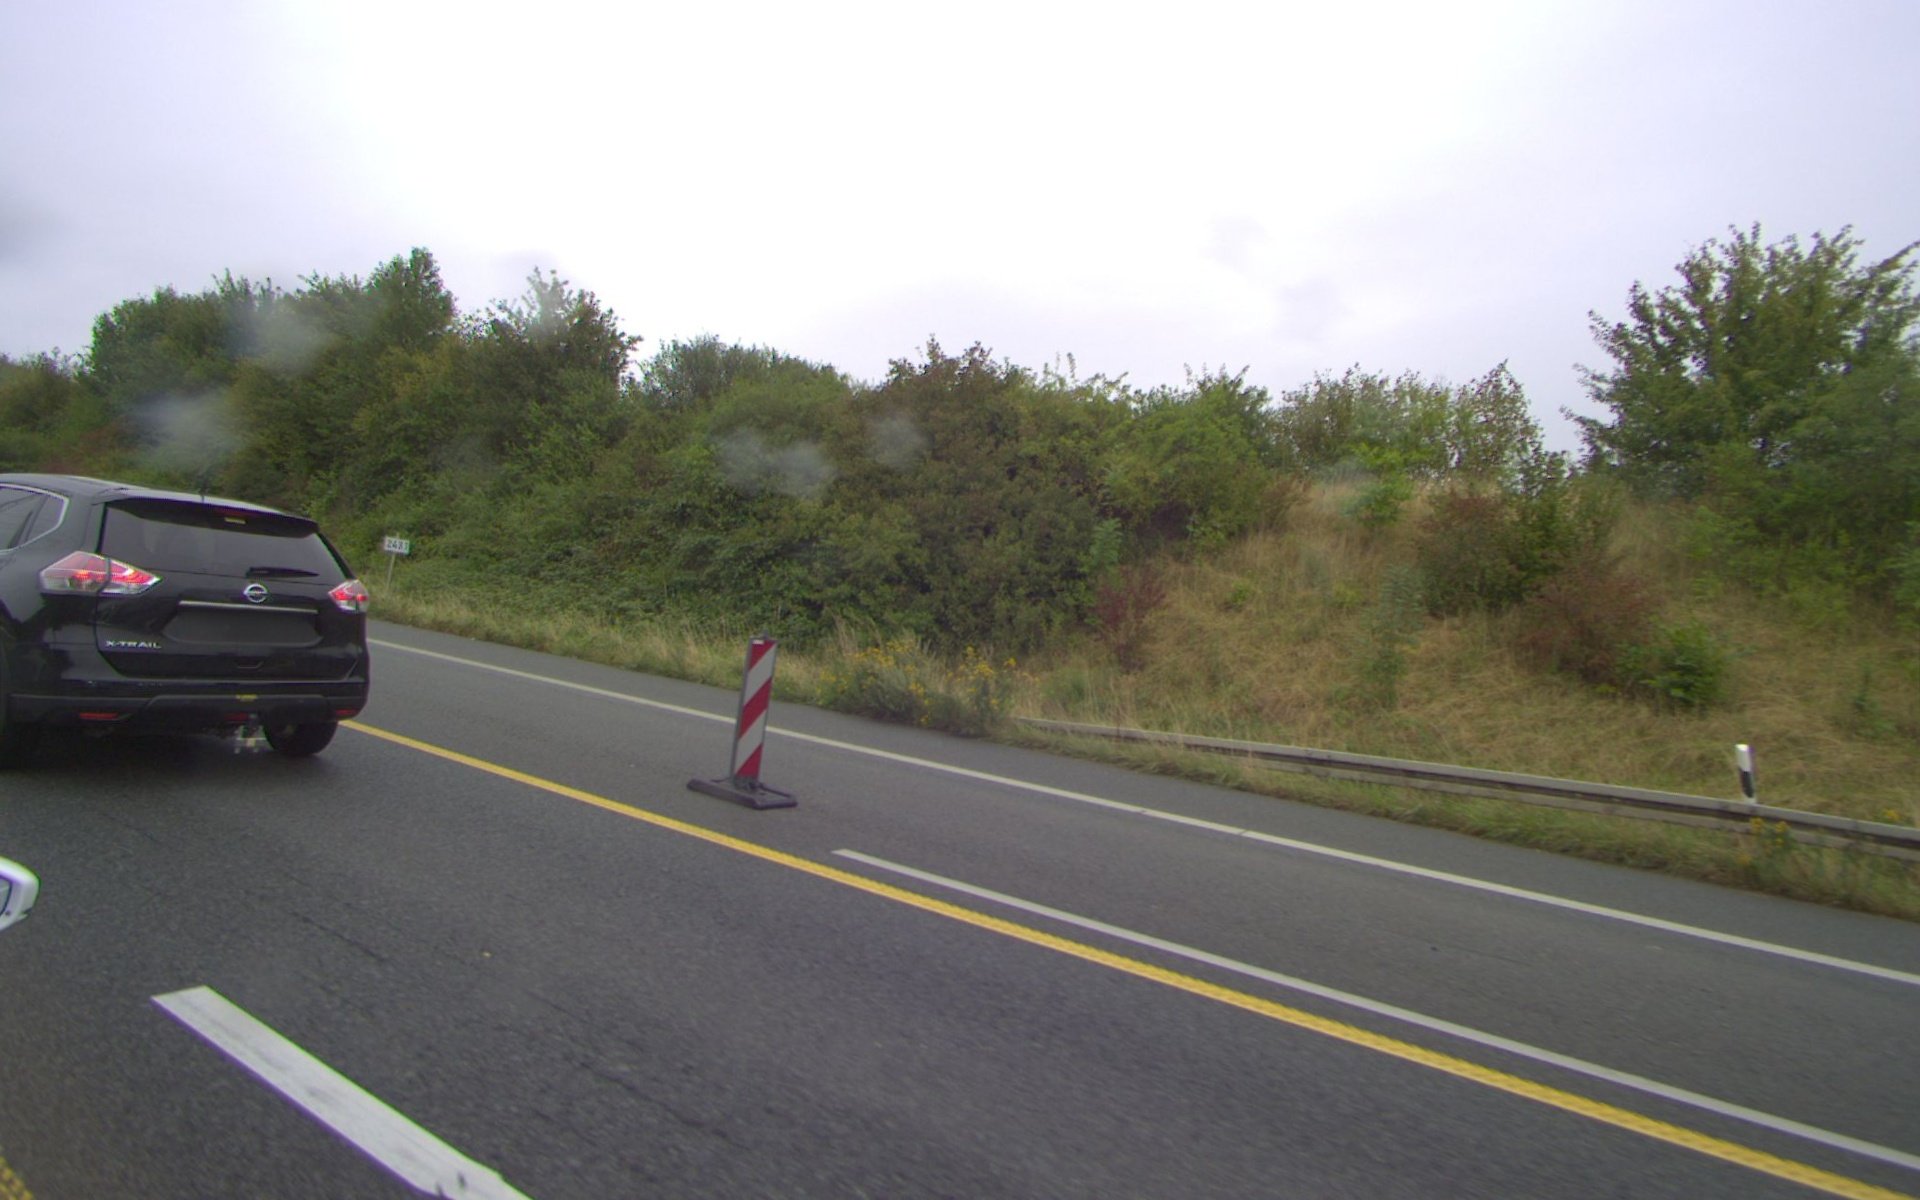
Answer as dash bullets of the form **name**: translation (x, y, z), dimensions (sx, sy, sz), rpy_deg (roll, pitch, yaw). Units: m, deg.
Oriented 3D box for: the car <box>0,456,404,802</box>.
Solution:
- **car**: translation (-5.854, 0.015, 6.709), dimensions (4.208, 1.678, 1.688), rpy_deg (7, -1, 30)
